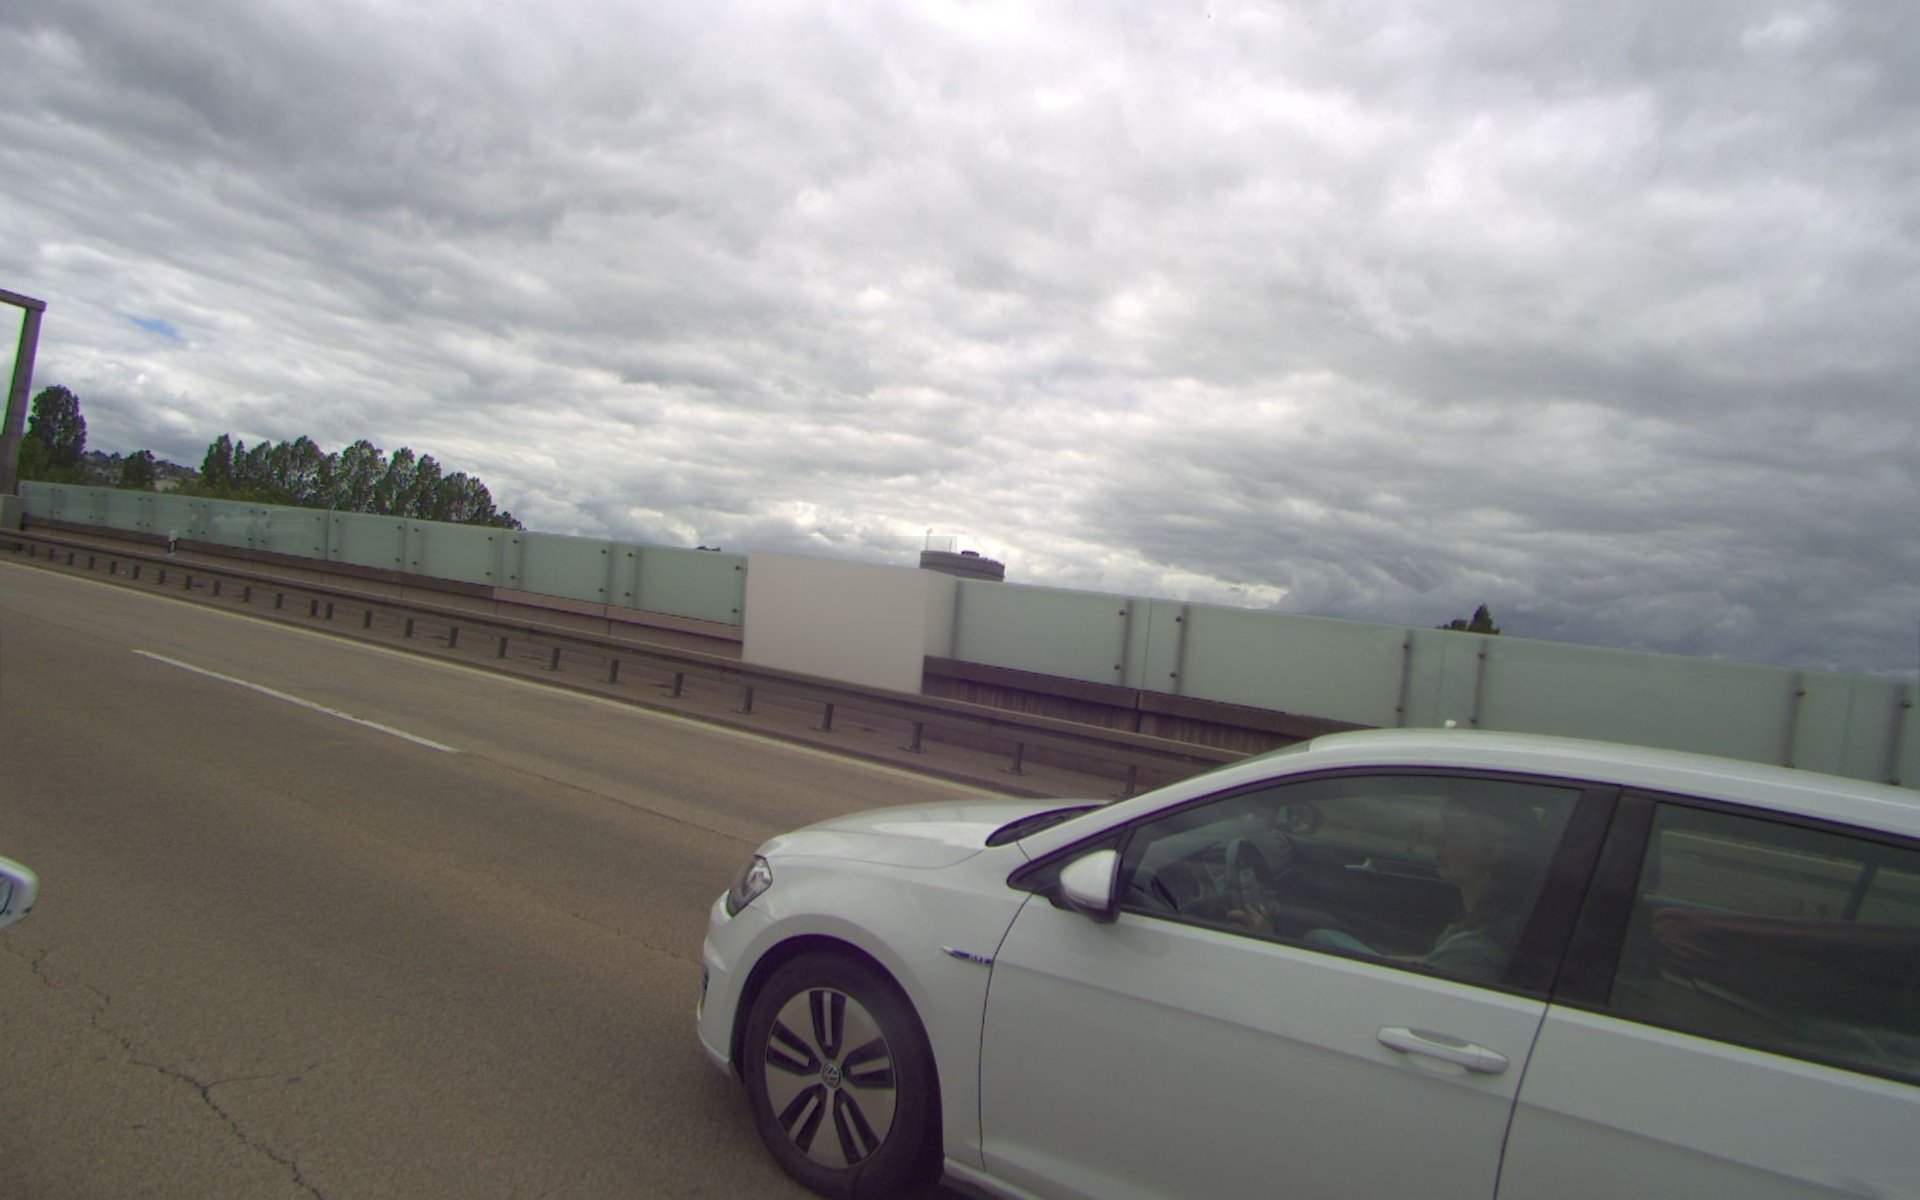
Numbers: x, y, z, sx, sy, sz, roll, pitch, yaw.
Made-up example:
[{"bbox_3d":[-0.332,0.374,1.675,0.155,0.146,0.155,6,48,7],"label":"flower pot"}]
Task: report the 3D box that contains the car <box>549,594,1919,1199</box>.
[{"bbox_3d":[1.003,0.987,2.725,4.004,1.469,1.757,7,-1,31],"label":"car"}]
